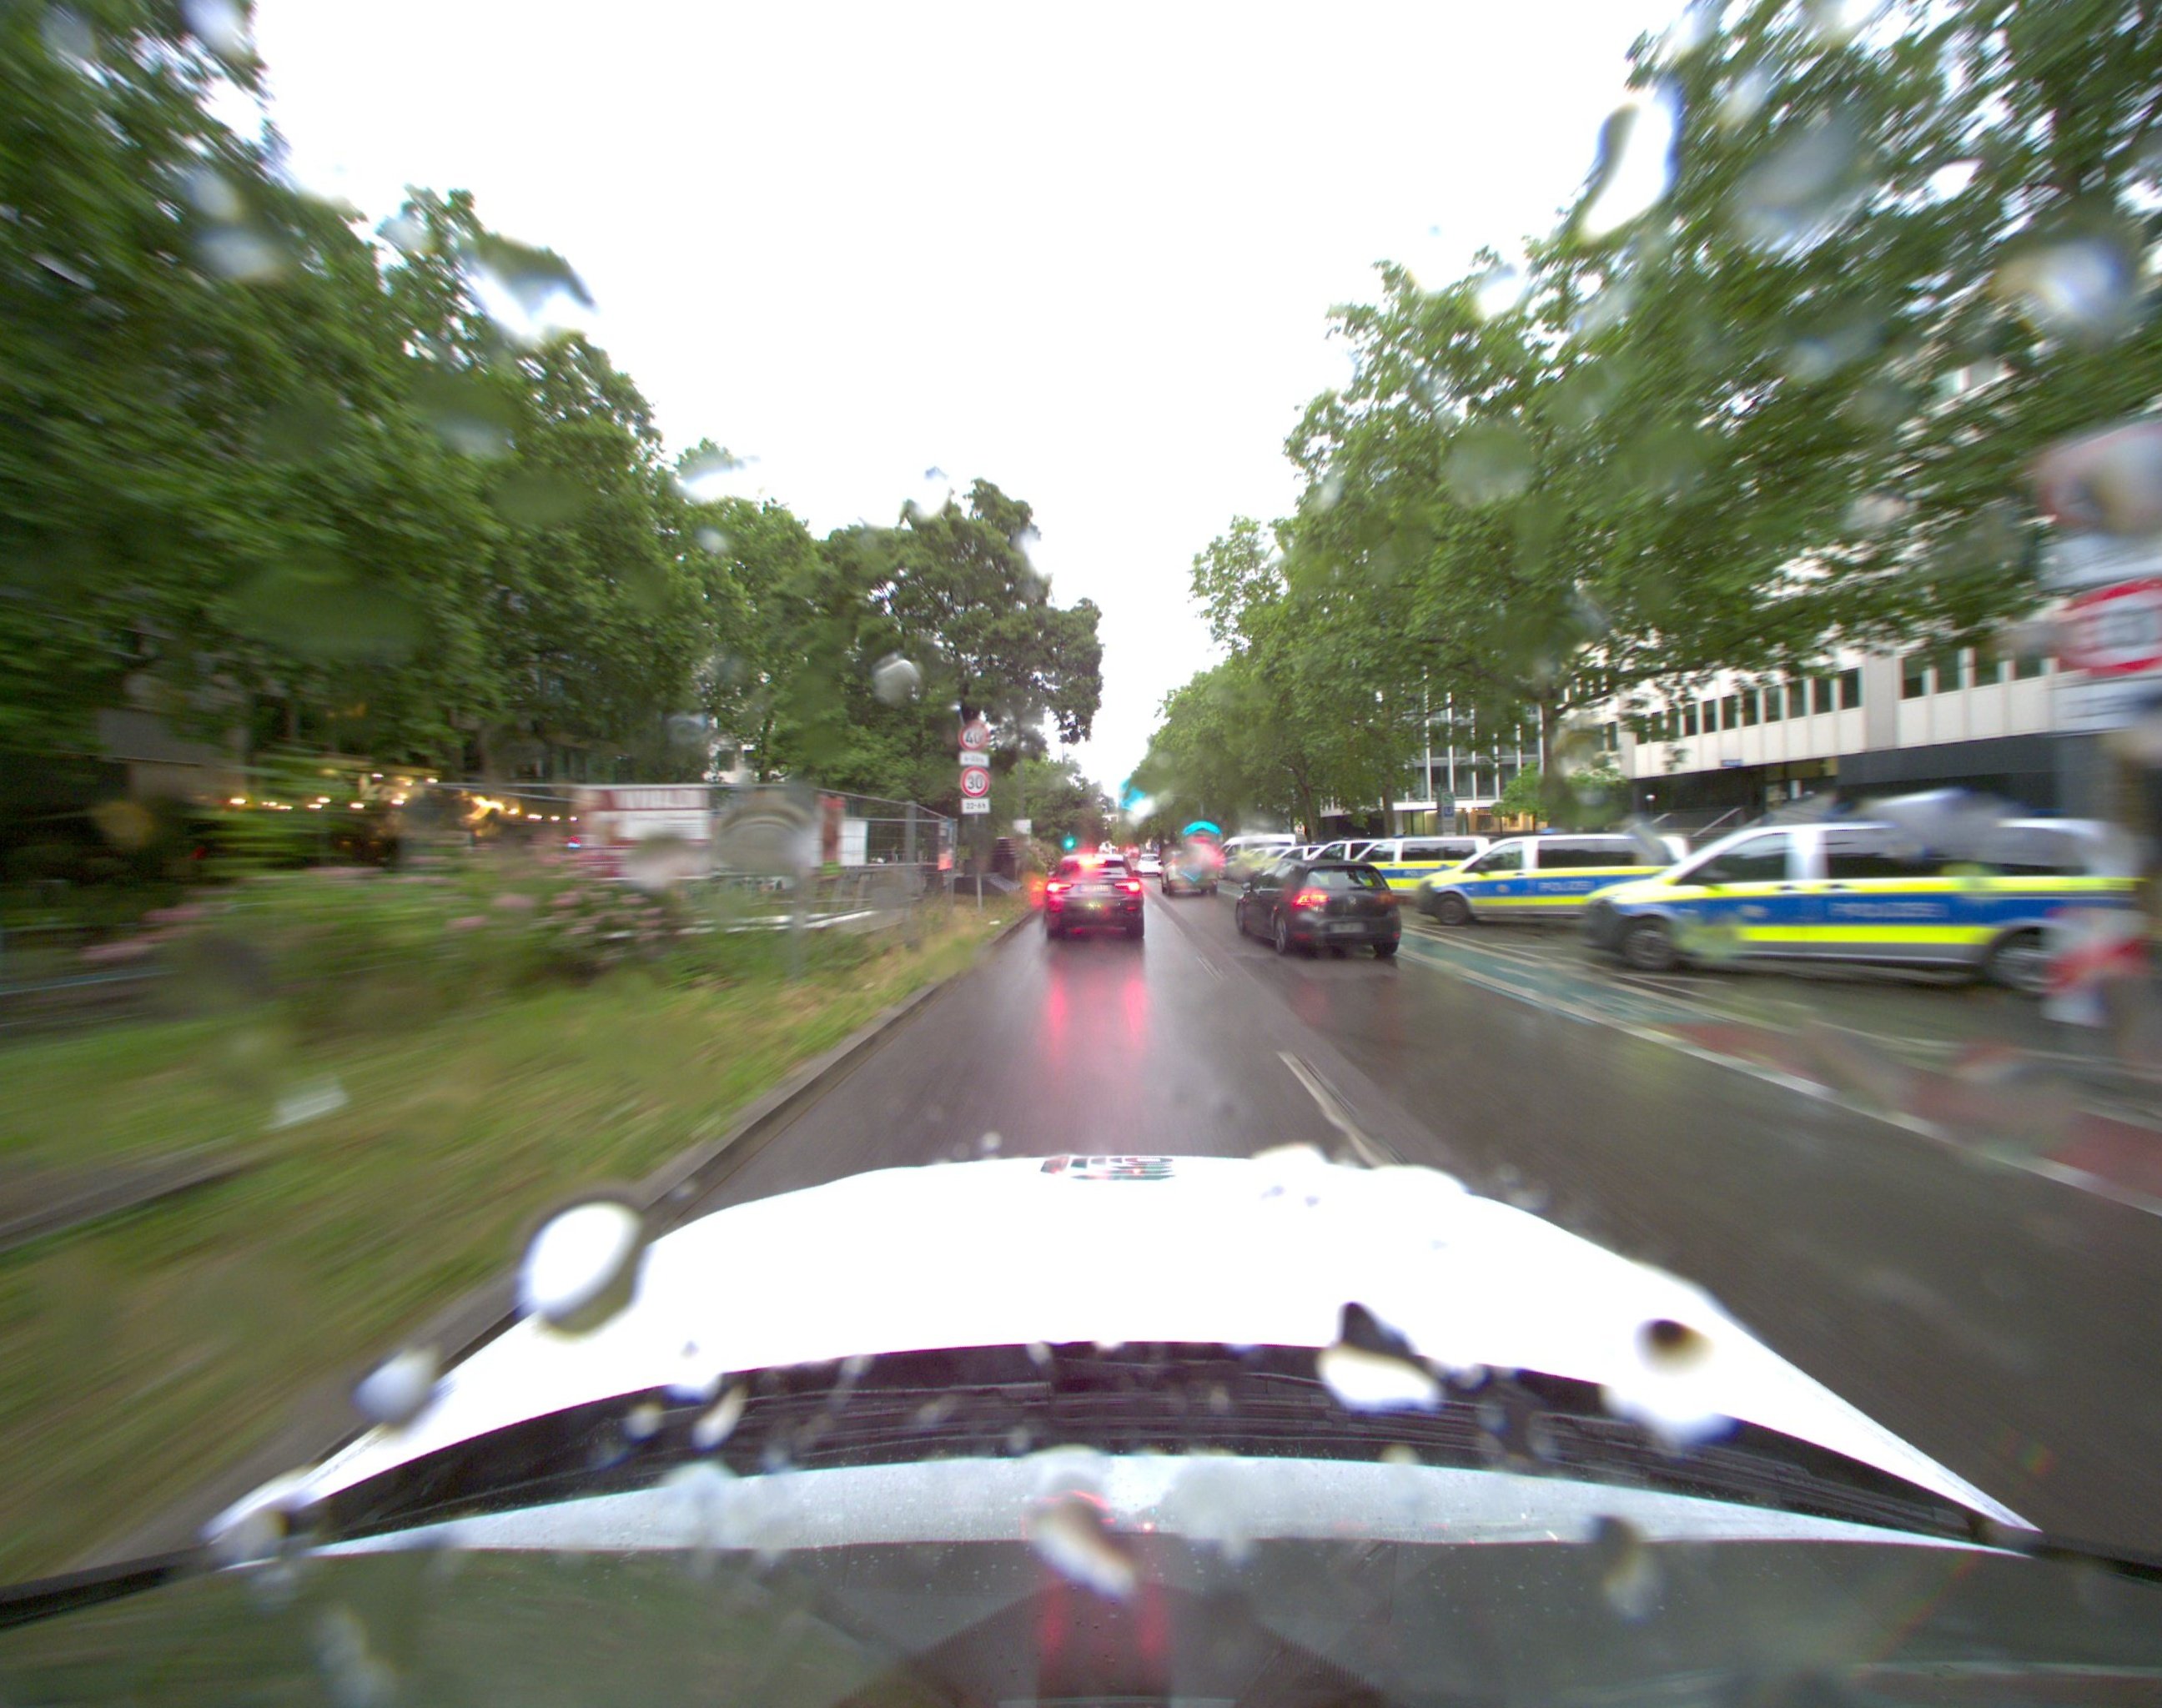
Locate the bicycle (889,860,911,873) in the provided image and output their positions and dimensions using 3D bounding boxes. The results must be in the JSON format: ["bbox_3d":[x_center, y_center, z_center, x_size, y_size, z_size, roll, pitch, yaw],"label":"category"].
[{"bbox_3d":[-15.984,1.112,71.912,1.819,1.097,0.565,-2,0,-6],"label":"bicycle"}]

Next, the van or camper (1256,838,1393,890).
[{"bbox_3d":[10.205,0.414,34.356,5.042,2.025,2.119,-1,0,39],"label":"van or camper"}]

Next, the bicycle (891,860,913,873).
[{"bbox_3d":[-15.965,1.130,72.656,1.842,1.136,0.565,-2,0,-6],"label":"bicycle"}]

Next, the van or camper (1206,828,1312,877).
[{"bbox_3d":[10.434,-0.060,48.142,5.736,2.680,2.013,-2,0,37],"label":"van or camper"}]

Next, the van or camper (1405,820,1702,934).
[{"bbox_3d":[9.552,0.401,16.694,5.023,2.019,2.010,0,0,38],"label":"van or camper"}]

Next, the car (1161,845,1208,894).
[{"bbox_3d":[3.803,0.550,30.346,1.427,1.685,2.981,-2,0,2],"label":"car"}]

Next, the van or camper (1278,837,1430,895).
[{"bbox_3d":[10.180,0.455,30.520,4.959,1.995,2.013,-2,0,34],"label":"van or camper"}]

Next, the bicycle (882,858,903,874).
[{"bbox_3d":[-15.910,1.025,68.816,1.615,1.241,0.508,-2,0,-6],"label":"bicycle"}]

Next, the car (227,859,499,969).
[{"bbox_3d":[-12.789,0.944,14.952,1.720,1.626,4.424,-1,0,-11],"label":"car"}]

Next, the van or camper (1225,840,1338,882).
[{"bbox_3d":[10.054,0.353,41.116,5.142,1.992,2.013,0,-1,36],"label":"van or camper"}]

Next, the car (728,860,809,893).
[{"bbox_3d":[-14.889,1.041,39.152,1.986,1.370,4.542,1,0,2],"label":"car"}]

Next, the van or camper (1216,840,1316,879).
[{"bbox_3d":[10.147,0.328,44.885,4.952,2.014,2.013,-2,-1,37],"label":"van or camper"}]

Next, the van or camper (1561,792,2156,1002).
[{"bbox_3d":[8.906,0.419,10.035,4.884,1.992,2.015,-1,0,40],"label":"van or camper"}]

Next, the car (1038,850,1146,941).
[{"bbox_3d":[0.317,0.707,16.378,1.855,1.532,4.530,-1,0,3],"label":"car"}]

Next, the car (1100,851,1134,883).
[{"bbox_3d":[1.943,0.662,44.278,1.715,1.577,3.963,-2,0,2],"label":"car"}]

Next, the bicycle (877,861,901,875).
[{"bbox_3d":[-16.011,1.131,68.062,1.842,1.098,0.613,-2,0,-7],"label":"bicycle"}]

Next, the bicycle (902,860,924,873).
[{"bbox_3d":[-15.181,1.117,73.477,1.841,1.136,0.565,-2,0,-5],"label":"bicycle"}]

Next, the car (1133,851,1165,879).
[{"bbox_3d":[4.630,0.726,56.201,1.986,1.750,4.002,-2,0,2],"label":"car"}]

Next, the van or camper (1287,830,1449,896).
[{"bbox_3d":[9.583,0.311,27.373,4.733,2.011,2.013,-1,-1,38],"label":"van or camper"}]

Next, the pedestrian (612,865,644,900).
[{"bbox_3d":[-18.208,1.139,32.766,0.761,1.380,0.933,-1,0,-1],"label":"pedestrian"}]

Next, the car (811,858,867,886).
[{"bbox_3d":[-14.693,1.051,49.682,1.987,1.509,4.517,-2,0,0],"label":"car"}]

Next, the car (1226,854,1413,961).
[{"bbox_3d":[3.708,0.746,13.421,1.760,1.413,3.997,-2,0,-2],"label":"car"}]

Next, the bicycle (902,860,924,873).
[{"bbox_3d":[-15.262,1.120,74.123,1.841,1.149,0.565,-2,0,-5],"label":"bicycle"}]

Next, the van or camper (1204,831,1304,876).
[{"bbox_3d":[10.779,0.008,51.051,5.741,2.677,2.161,-1,0,39],"label":"van or camper"}]

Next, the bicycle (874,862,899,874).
[{"bbox_3d":[-16.030,1.160,67.168,1.839,0.979,0.565,-2,0,-2],"label":"bicycle"}]

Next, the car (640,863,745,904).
[{"bbox_3d":[-15.205,1.110,32.181,1.818,1.394,4.486,-1,0,2],"label":"car"}]

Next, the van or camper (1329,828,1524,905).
[{"bbox_3d":[9.832,0.348,23.373,4.792,1.998,1.880,-1,0,38],"label":"van or camper"}]
